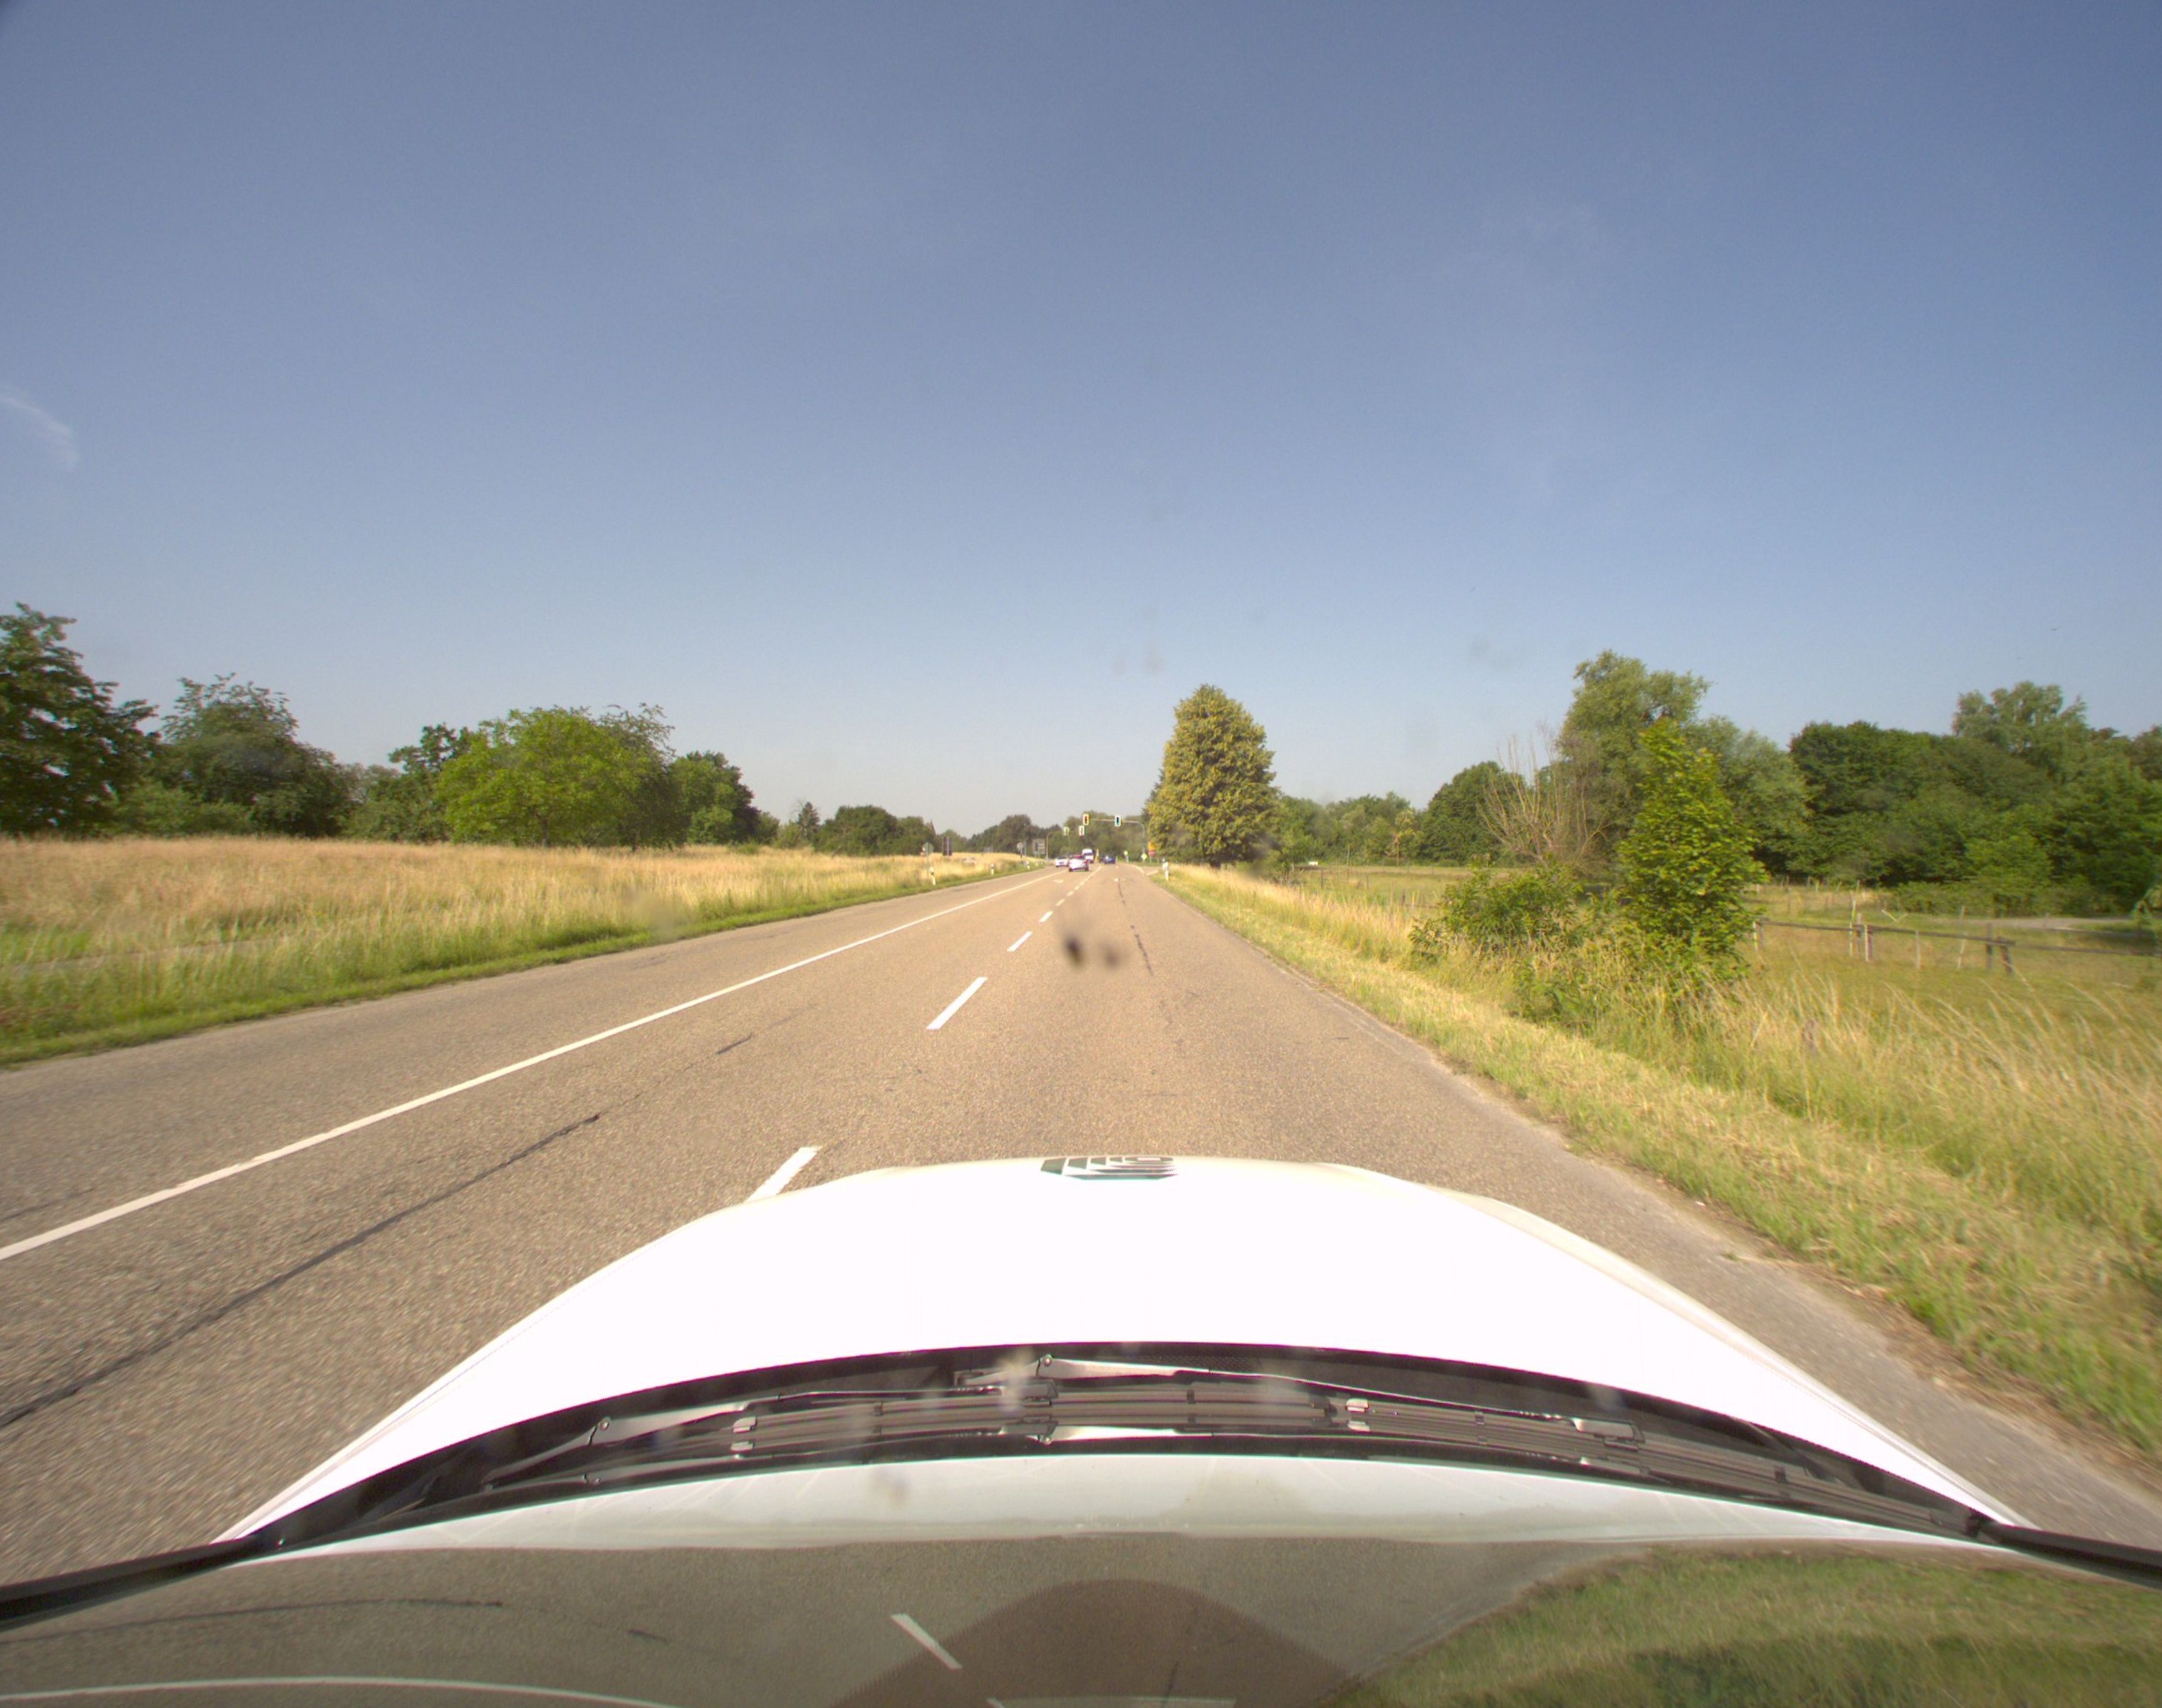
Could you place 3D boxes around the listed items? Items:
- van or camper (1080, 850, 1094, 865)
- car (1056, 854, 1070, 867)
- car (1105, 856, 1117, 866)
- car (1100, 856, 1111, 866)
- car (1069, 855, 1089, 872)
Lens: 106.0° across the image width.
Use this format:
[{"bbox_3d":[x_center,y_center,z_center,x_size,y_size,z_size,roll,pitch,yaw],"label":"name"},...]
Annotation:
[{"bbox_3d":[1.143,0.732,153.477,2.255,2.709,5.266,2,0,3],"label":"van or camper"},{"bbox_3d":[-2.608,0.969,117.673,1.584,1.728,4.005,2,0,5],"label":"car"},{"bbox_3d":[4.885,1.178,133.372,1.809,1.520,4.002,2,0,2],"label":"car"},{"bbox_3d":[4.863,1.340,160.918,1.986,1.816,4.002,2,0,2],"label":"car"},{"bbox_3d":[-0.160,0.926,80.471,1.893,1.512,3.999,1,0,0],"label":"car"}]
